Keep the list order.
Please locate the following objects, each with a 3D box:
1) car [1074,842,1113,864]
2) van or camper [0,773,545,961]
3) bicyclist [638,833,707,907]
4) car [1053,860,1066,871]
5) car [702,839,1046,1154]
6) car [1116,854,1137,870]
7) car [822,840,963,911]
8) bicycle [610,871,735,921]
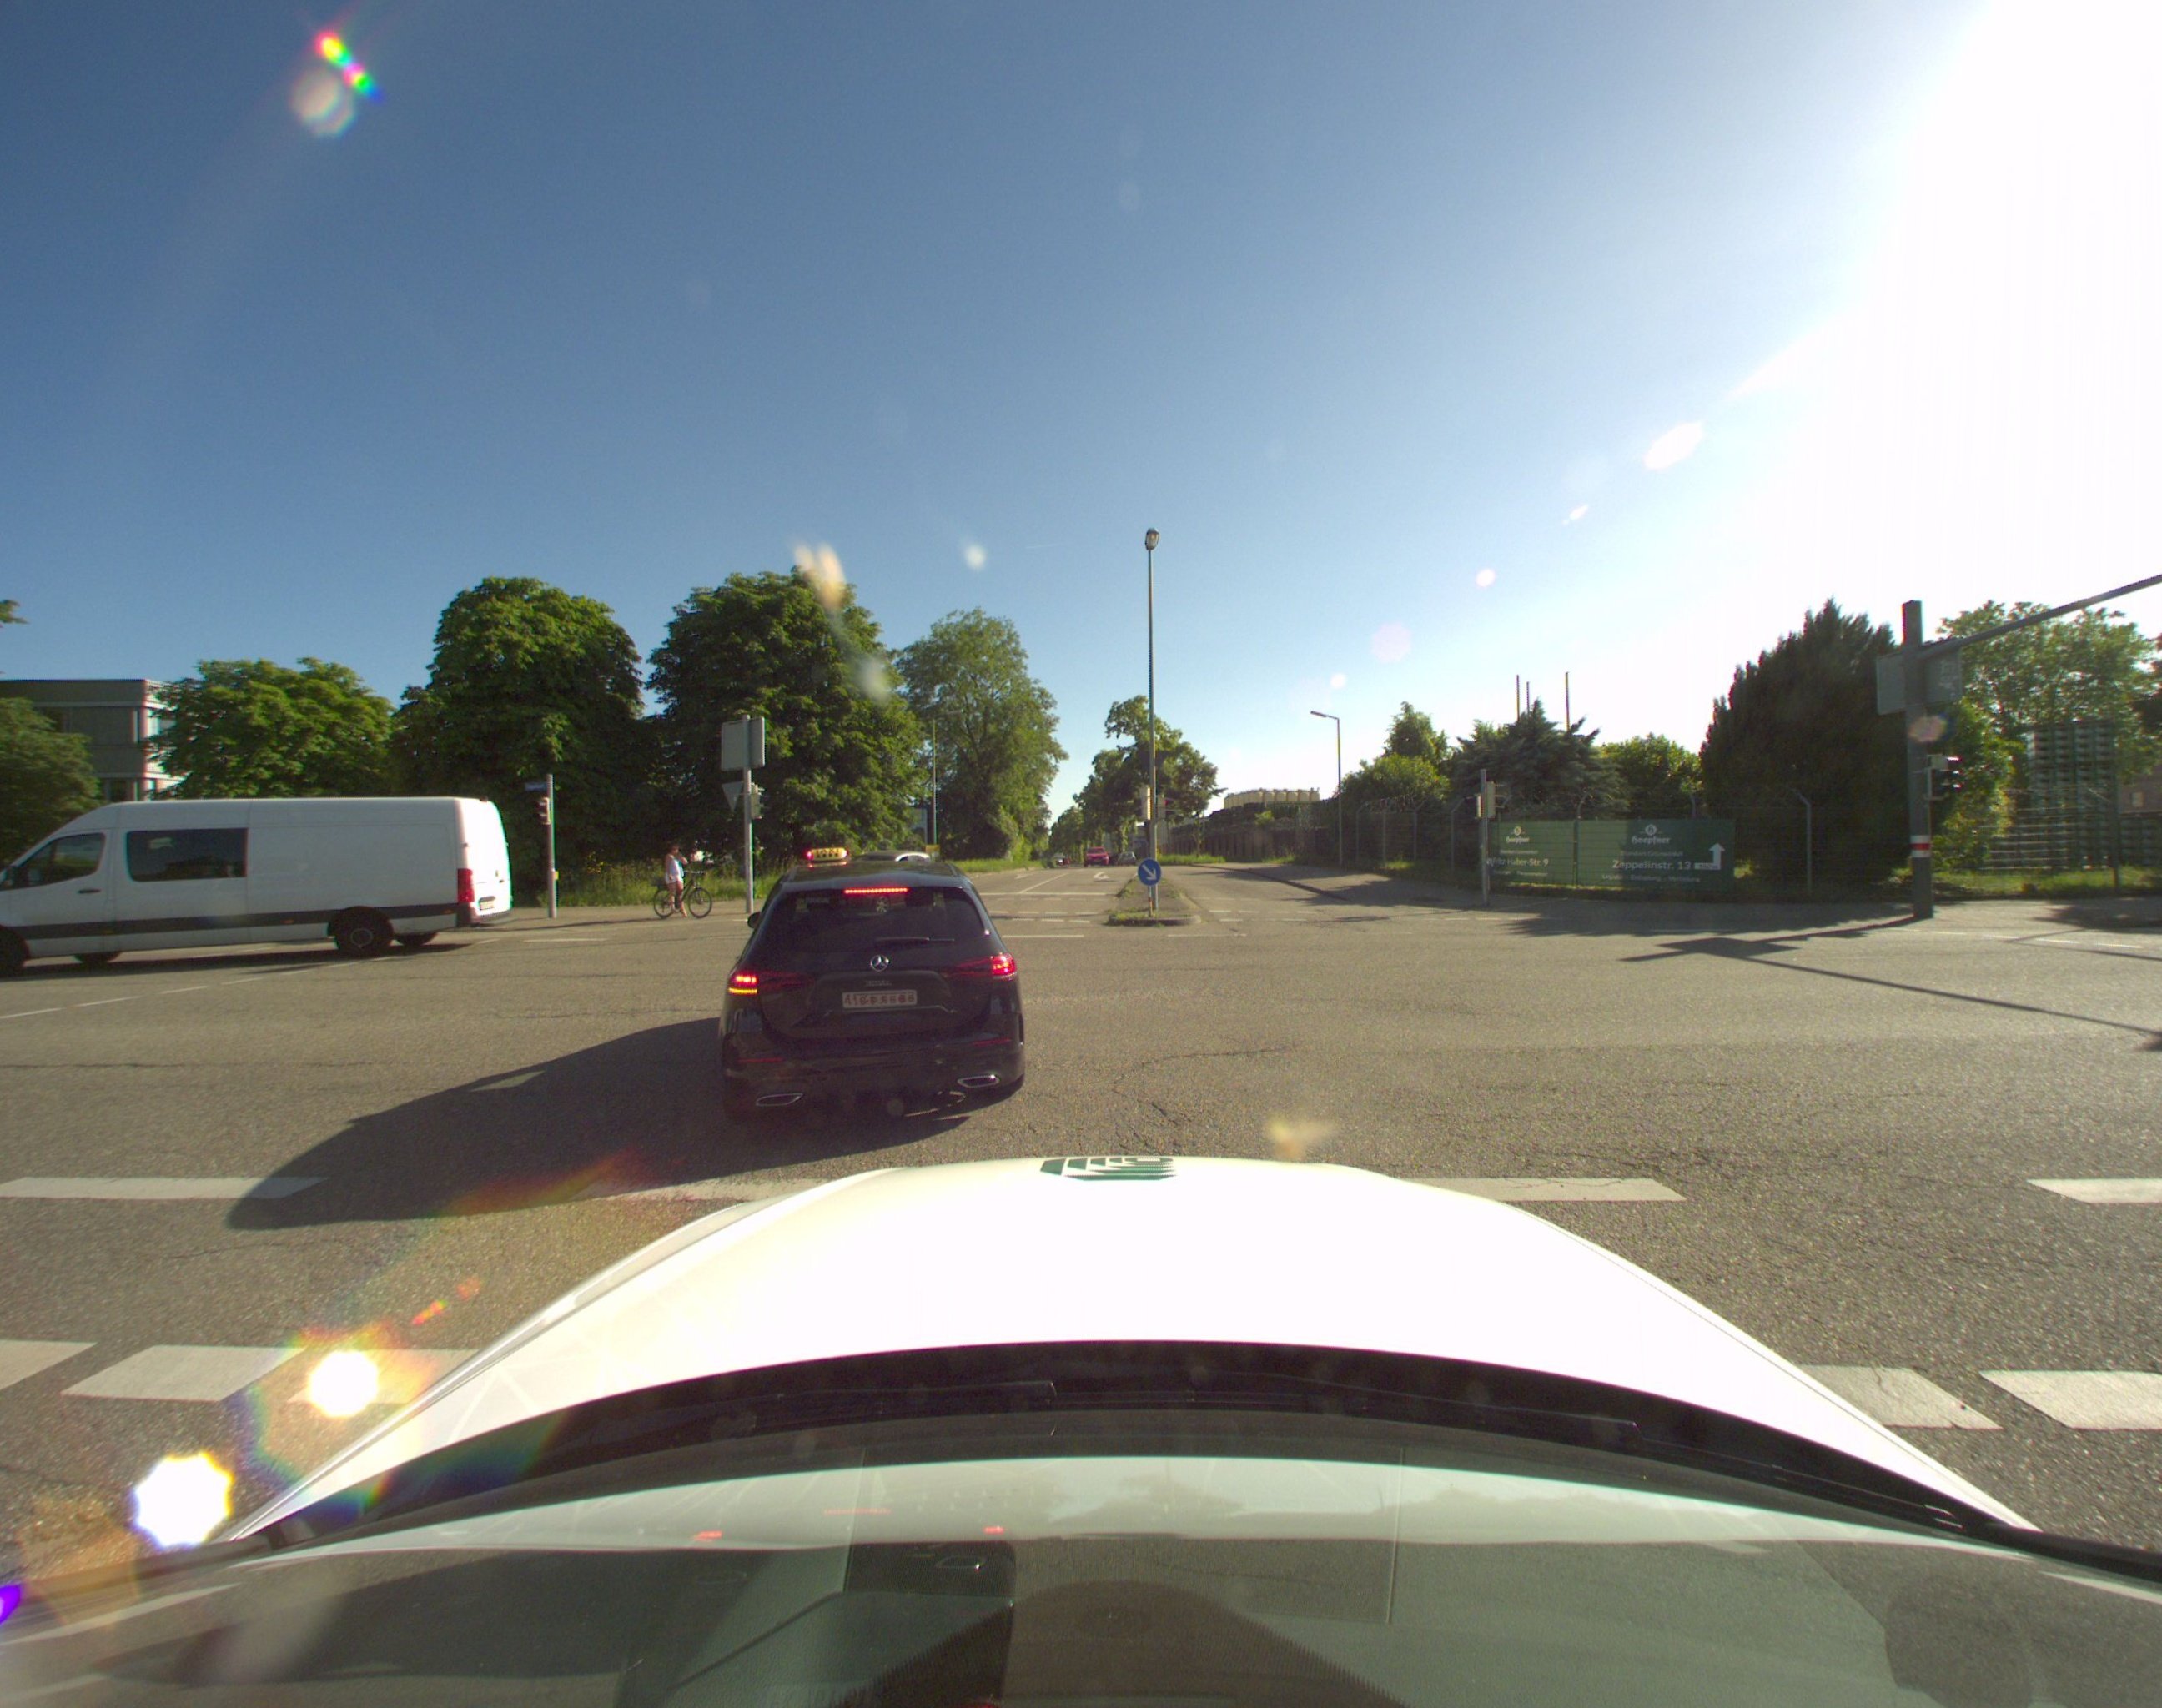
[{"bbox_3d":[0.862,-0.058,59.852,1.860,1.469,4.119,-1,0,-14],"label":"car"},{"bbox_3d":[-13.596,0.189,13.889,7.081,2.739,2.218,0,-1,-21],"label":"van or camper"},{"bbox_3d":[-9.682,0.377,19.333,1.176,1.693,0.897,-1,-1,21],"label":"bicyclist"},{"bbox_3d":[-3.229,1.667,120.158,1.853,1.469,4.135,-1,0,-2],"label":"car"},{"bbox_3d":[-1.513,0.733,6.322,1.772,1.592,3.971,-1,0,-13],"label":"car"},{"bbox_3d":[4.657,0.805,84.250,1.686,1.632,3.125,-1,0,-5],"label":"car"},{"bbox_3d":[-4.719,0.503,21.011,1.791,1.640,4.016,-1,0,15],"label":"car"},{"bbox_3d":[-9.701,0.967,19.330,2.918,1.125,0.908,-1,-1,21],"label":"bicycle"}]
